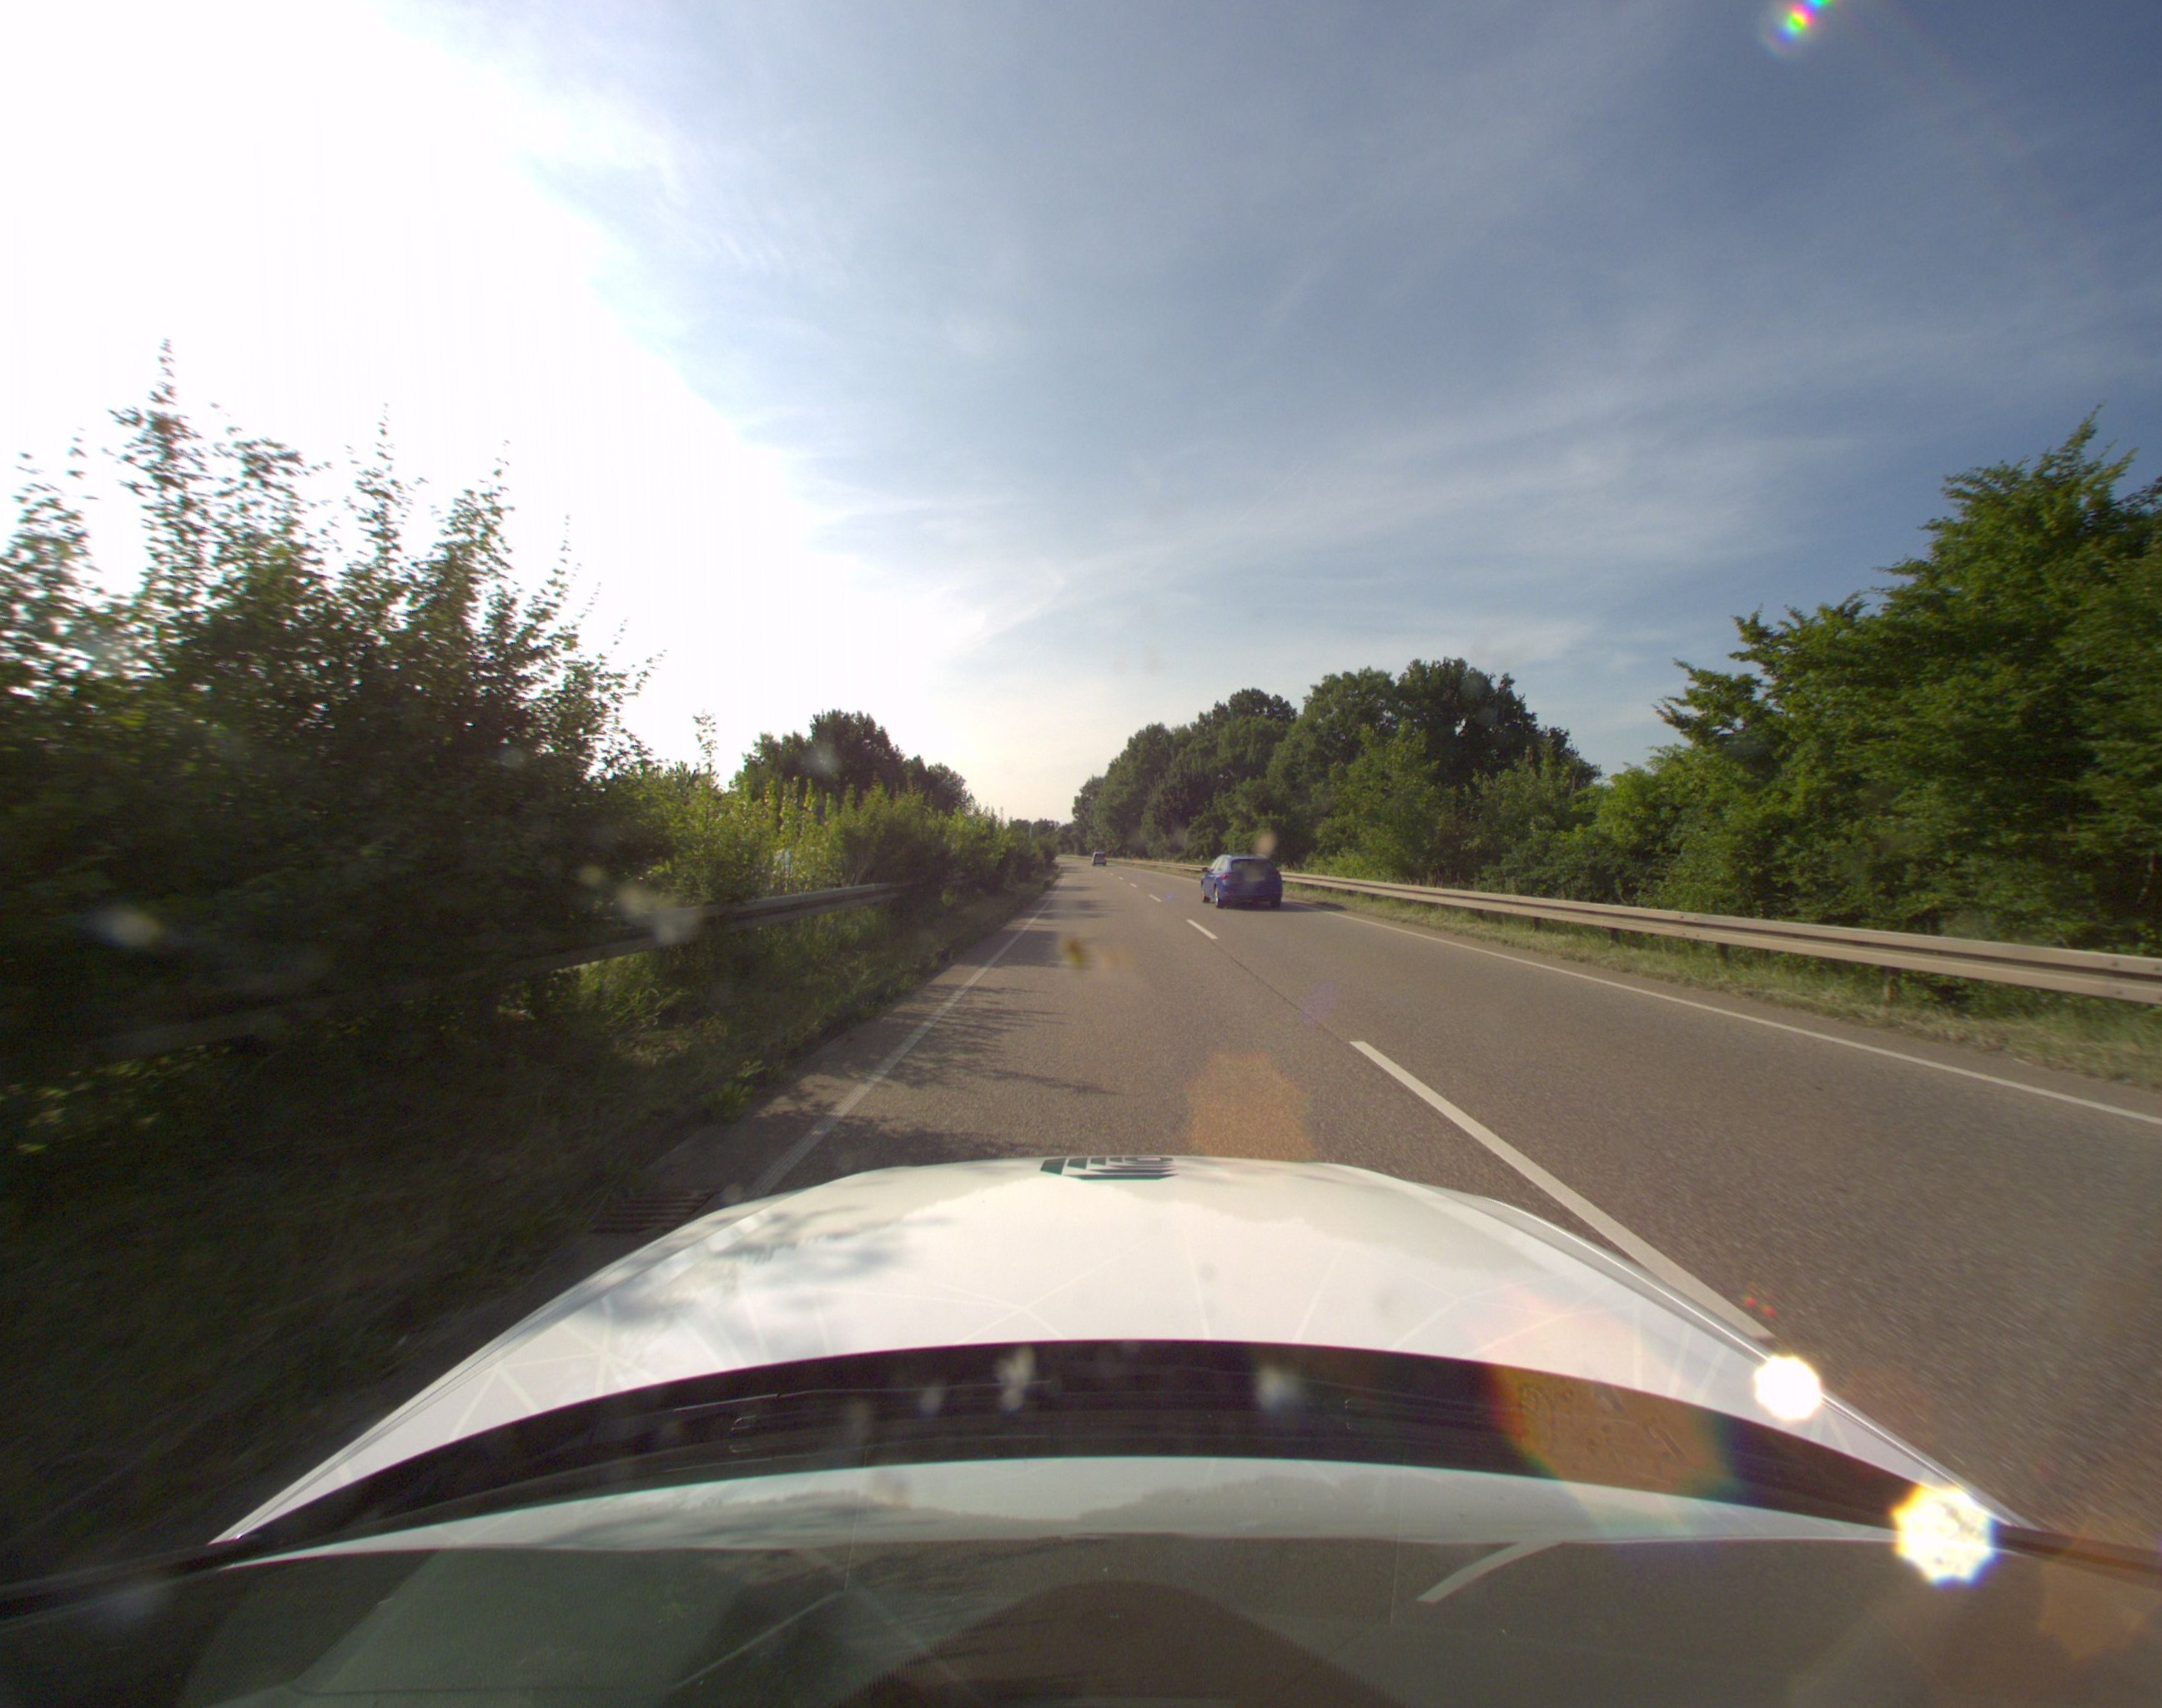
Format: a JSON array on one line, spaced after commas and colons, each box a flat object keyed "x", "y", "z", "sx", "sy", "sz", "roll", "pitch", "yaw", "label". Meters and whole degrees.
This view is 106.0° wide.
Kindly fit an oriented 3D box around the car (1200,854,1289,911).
[{"x": 4.540, "y": 0.738, "z": 23.181, "sx": 1.773, "sy": 1.451, "sz": 4.000, "roll": -1, "pitch": 0, "yaw": 1, "label": "car"}]

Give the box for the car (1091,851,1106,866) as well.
[{"x": 2.264, "y": 0.548, "z": 106.371, "sx": 1.760, "sy": 1.881, "sz": 4.000, "roll": -1, "pitch": 1, "yaw": 0, "label": "car"}]
